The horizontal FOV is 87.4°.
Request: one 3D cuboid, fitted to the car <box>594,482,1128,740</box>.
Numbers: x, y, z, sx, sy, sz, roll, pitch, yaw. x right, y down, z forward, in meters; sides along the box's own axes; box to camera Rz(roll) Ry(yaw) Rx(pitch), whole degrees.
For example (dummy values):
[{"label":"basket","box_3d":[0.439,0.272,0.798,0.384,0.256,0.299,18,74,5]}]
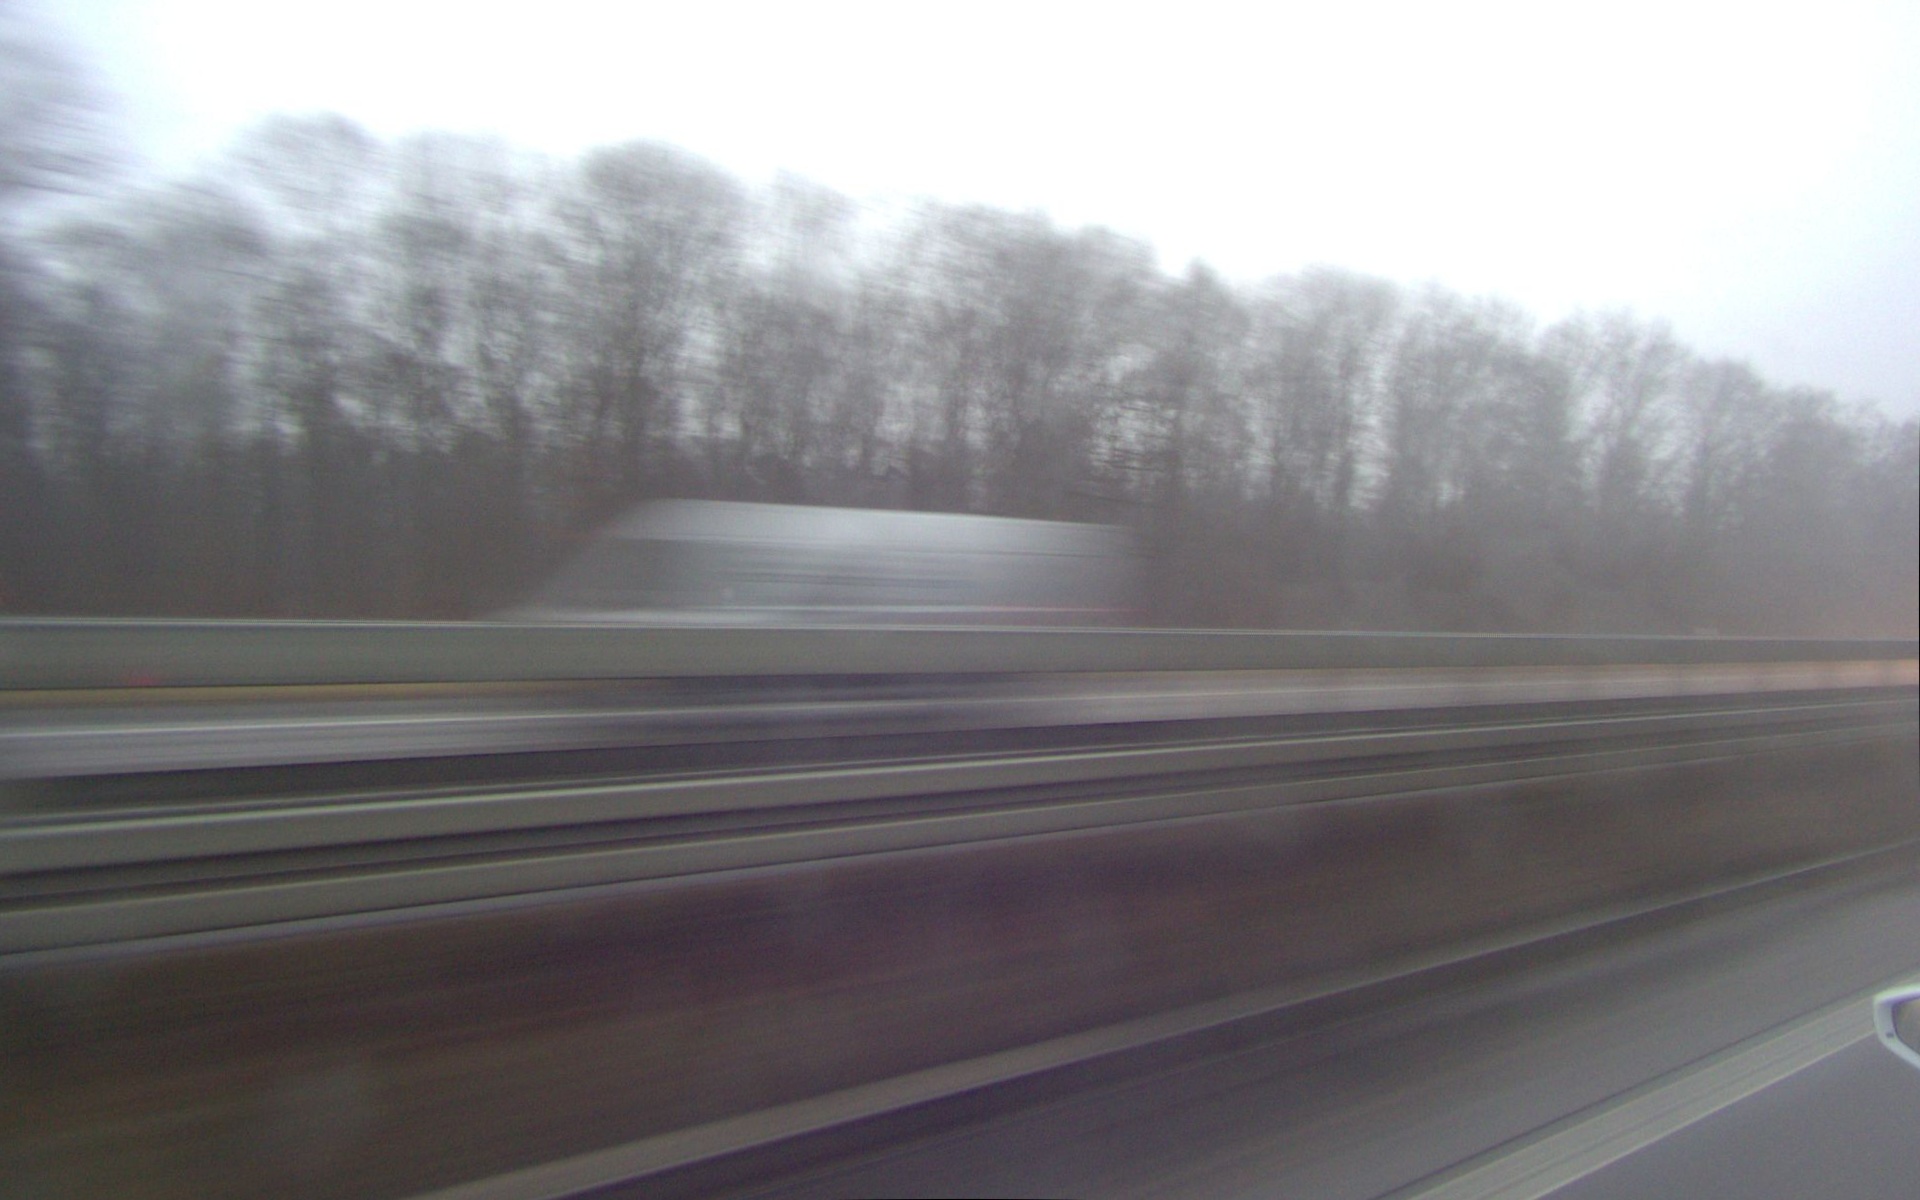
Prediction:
[{"label":"car","box_3d":[-1.105,0.187,12.610,6.197,2.556,2.464,2,0,-31]}]
